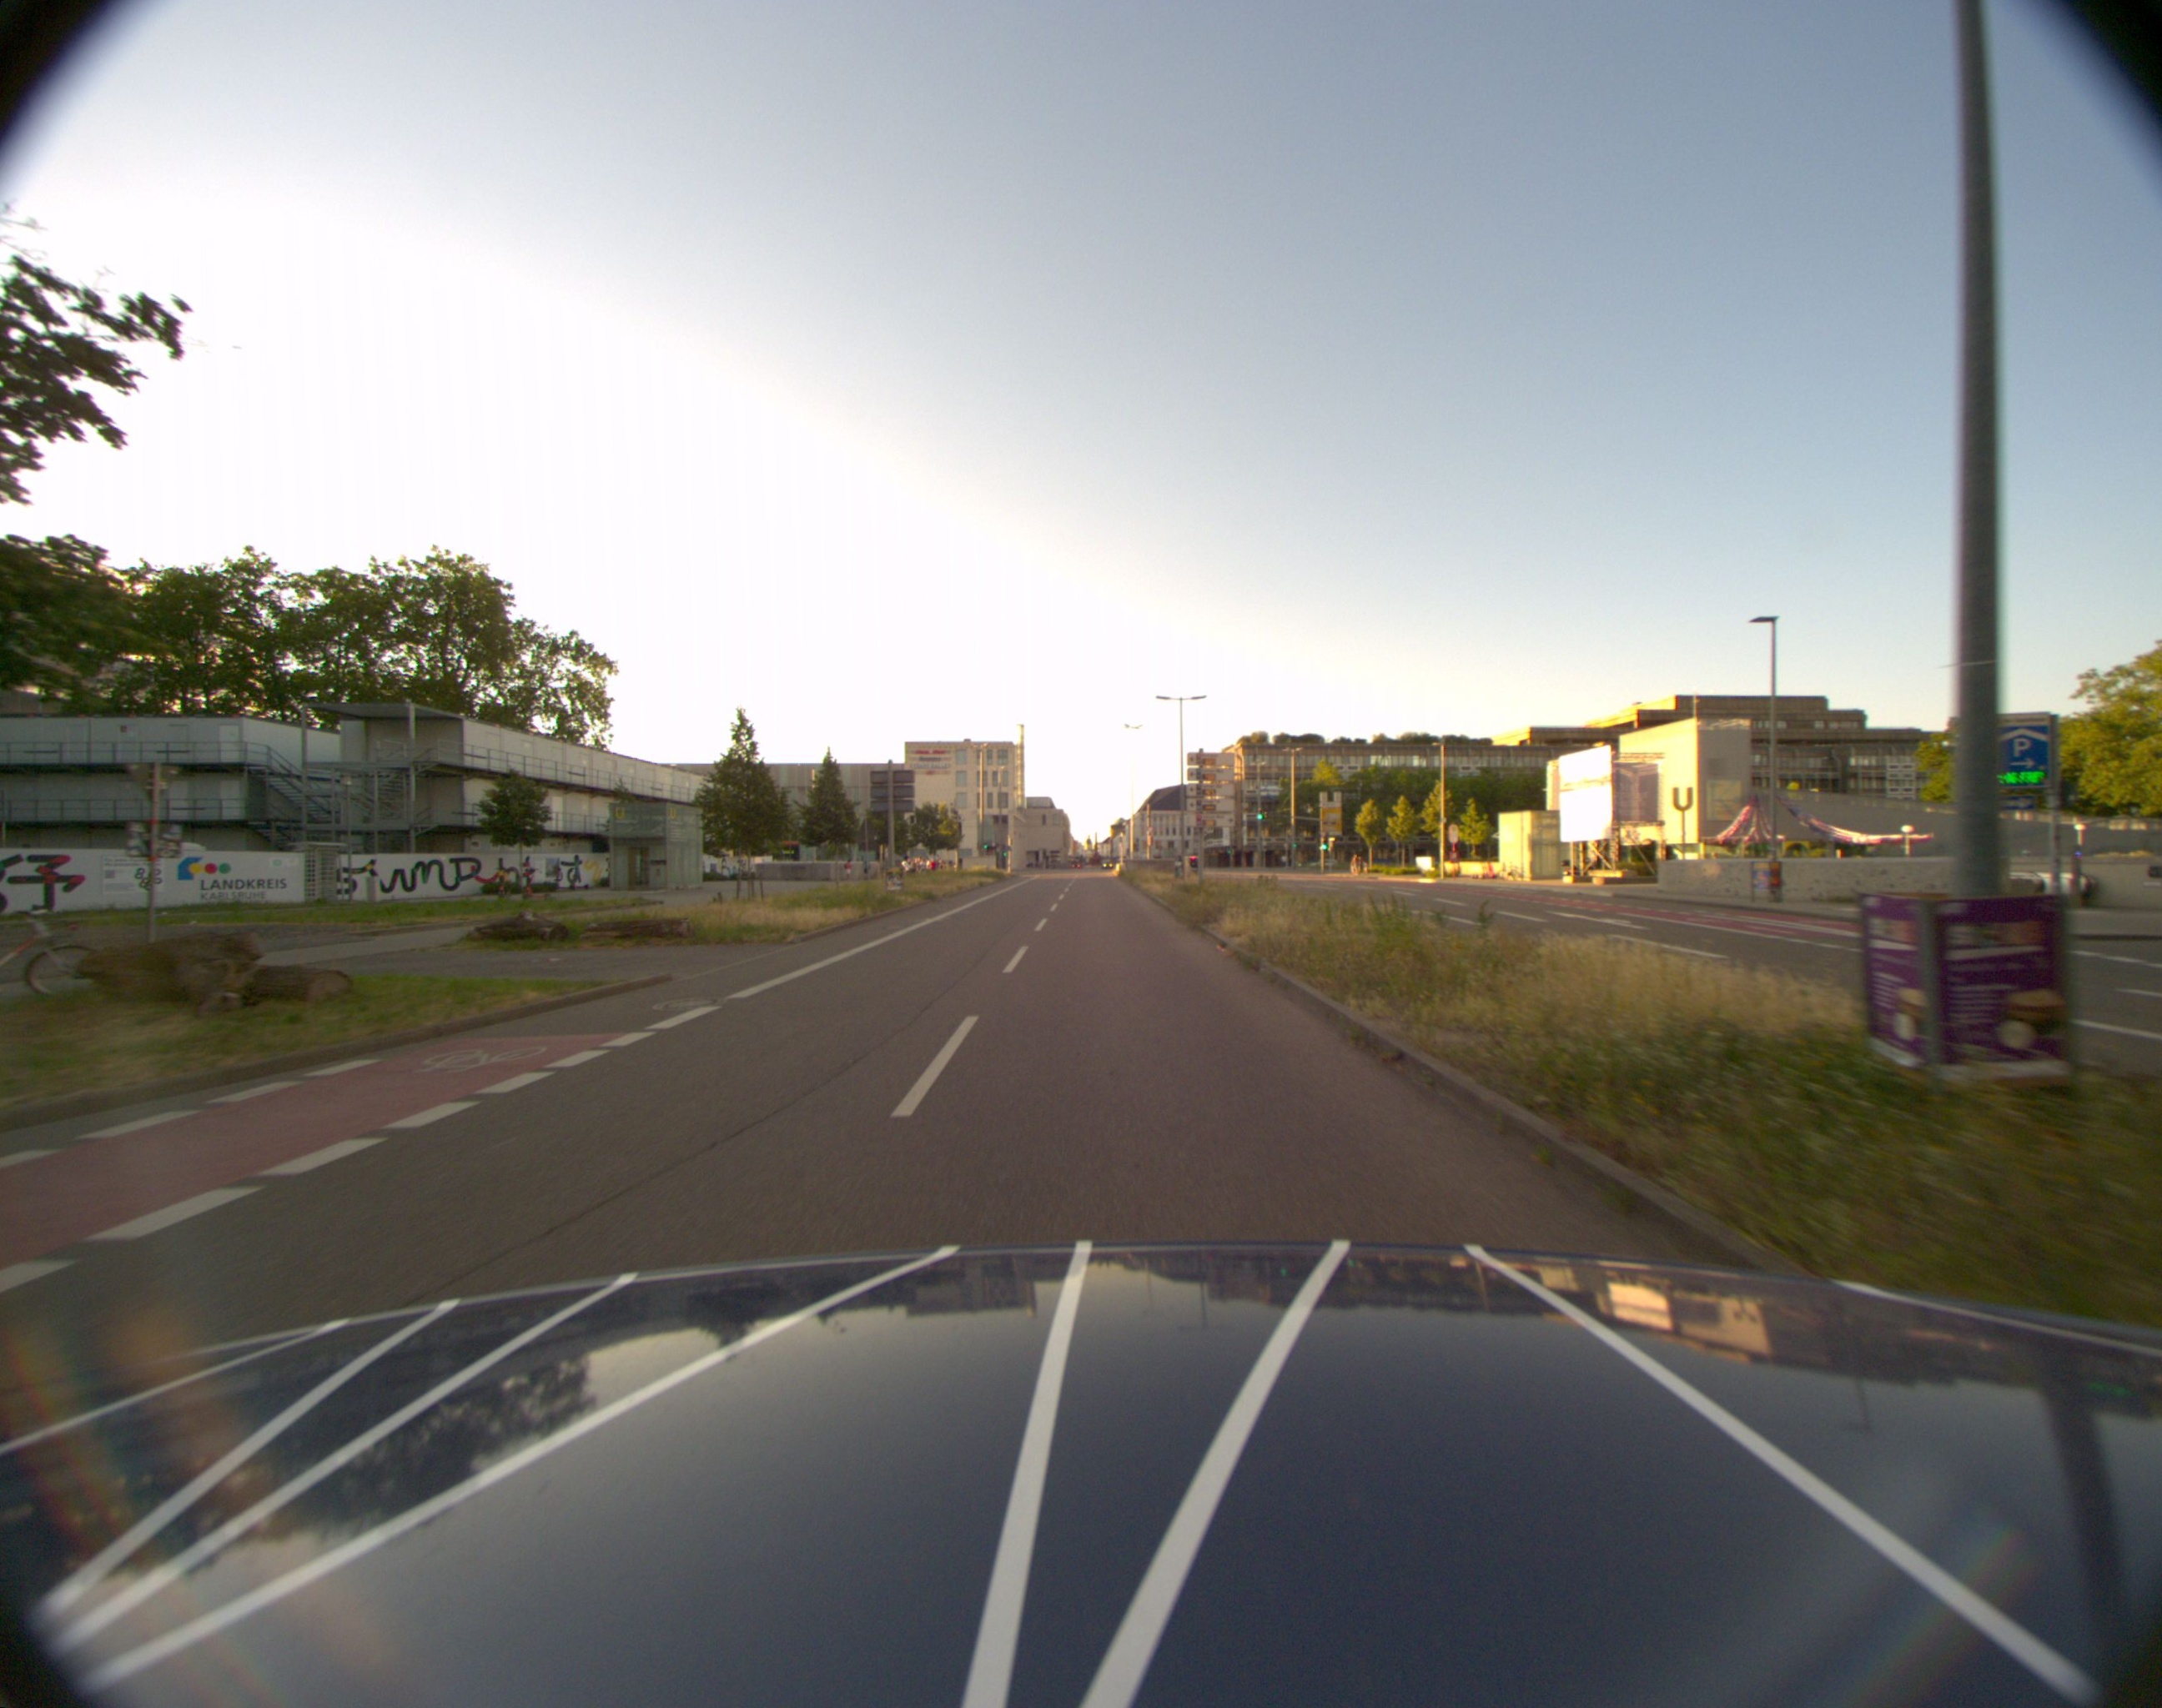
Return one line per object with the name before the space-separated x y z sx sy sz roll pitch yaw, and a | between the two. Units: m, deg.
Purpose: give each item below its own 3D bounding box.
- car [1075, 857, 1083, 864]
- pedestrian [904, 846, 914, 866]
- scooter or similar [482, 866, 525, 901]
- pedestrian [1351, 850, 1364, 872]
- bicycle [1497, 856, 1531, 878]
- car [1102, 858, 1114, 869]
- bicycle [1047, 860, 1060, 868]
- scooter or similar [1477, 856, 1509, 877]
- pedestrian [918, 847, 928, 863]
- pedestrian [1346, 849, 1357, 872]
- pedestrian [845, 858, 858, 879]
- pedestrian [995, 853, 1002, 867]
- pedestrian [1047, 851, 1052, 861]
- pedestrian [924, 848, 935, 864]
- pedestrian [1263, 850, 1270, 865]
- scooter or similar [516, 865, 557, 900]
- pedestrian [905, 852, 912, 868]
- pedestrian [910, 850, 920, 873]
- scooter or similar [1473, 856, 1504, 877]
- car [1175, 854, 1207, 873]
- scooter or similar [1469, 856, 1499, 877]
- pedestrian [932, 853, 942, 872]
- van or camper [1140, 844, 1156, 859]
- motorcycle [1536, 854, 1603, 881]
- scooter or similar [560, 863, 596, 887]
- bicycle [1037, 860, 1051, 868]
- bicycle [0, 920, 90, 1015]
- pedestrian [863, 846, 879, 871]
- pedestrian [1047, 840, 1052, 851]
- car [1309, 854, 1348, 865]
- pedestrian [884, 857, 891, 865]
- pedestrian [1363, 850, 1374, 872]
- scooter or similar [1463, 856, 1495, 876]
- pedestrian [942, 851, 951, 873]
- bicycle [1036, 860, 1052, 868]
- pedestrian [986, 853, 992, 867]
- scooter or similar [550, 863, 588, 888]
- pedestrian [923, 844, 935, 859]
car | -0.486 1.755 201.150 2.071 1.641 4.001 0 0 1
pedestrian | -14.820 0.147 65.352 0.644 1.702 0.762 0 0 2
scooter or similar | -21.179 1.061 27.877 0.474 1.213 1.573 2 0 -6
pedestrian | 23.706 0.579 65.189 0.874 1.826 0.775 0 1 1
bicycle | 26.392 0.762 46.364 0.619 1.316 2.509 0 0 -1
car | 4.723 1.665 132.689 2.071 1.641 3.999 0 2 2
bicycle | -5.152 1.879 142.823 2.507 1.316 0.619 0 1 0
scooter or similar | 26.229 0.791 48.366 1.841 1.297 0.423 0 1 -6
pedestrian | -18.884 0.129 90.634 0.896 1.843 0.724 1 2 -33
pedestrian | 23.562 0.568 66.108 0.633 1.922 0.775 0 1 -3
pedestrian | -16.601 1.062 54.900 0.762 1.481 0.645 0 -1 1
pedestrian | -9.932 0.719 91.434 0.644 1.650 0.871 0 1 2
pedestrian | -5.084 0.348 122.462 0.764 1.696 0.834 0 0 -2
pedestrian | -17.949 0.267 90.270 0.892 1.843 1.007 3 2 12
pedestrian | 24.973 0.477 102.299 0.644 1.920 0.681 0 1 -3
scooter or similar | -20.007 1.045 27.951 0.424 1.213 1.398 2 0 1
pedestrian | -20.116 0.665 88.776 0.604 1.843 0.586 0 1 4
pedestrian | -13.850 0.643 63.514 0.644 1.922 0.619 0 1 2
scooter or similar | 26.194 0.796 48.807 1.836 1.297 0.423 0 1 -6
car | 8.766 0.764 60.934 1.891 1.457 4.537 0 0 -1
scooter or similar | 26.164 0.800 49.291 1.793 1.297 0.417 0 1 -6
pedestrian | -13.016 0.749 68.630 0.644 1.702 0.871 0 1 2
van or camper | 12.661 -0.429 143.844 2.233 2.650 6.162 0 -1 -3
motorcycle | 27.173 0.731 42.292 3.241 1.375 0.840 -2 1 -1
scooter or similar | -26.972 1.104 40.766 1.573 1.213 0.474 -2 1 -2
bicycle | -6.650 1.787 138.123 2.507 1.316 0.619 0 1 0
bicycle | -12.513 1.306 8.353 0.494 1.000 1.901 3 1 20
pedestrian | -15.700 0.336 56.780 0.816 1.804 1.047 0 0 6
pedestrian | -5.190 -1.370 124.591 0.764 1.696 0.834 0 0 2
car | 36.382 0.866 111.883 5.160 1.575 2.000 0 0 0
pedestrian | -22.507 0.798 88.269 0.650 0.957 0.654 0 1 -5
pedestrian | 24.657 0.621 65.217 0.661 1.922 0.648 0 0 2
scooter or similar | 26.095 0.792 49.796 1.864 1.297 0.500 0 1 -6
pedestrian | -11.427 0.666 64.744 0.644 1.922 0.619 0 1 0
bicycle | -6.481 1.752 133.045 2.804 1.208 0.765 0 0 10
pedestrian | -11.059 0.686 91.542 0.644 1.720 0.871 0 1 2
scooter or similar | -26.906 1.119 39.950 1.573 1.213 0.474 -2 1 -2
pedestrian | -17.822 -0.237 89.118 0.868 1.715 1.009 3 2 27
